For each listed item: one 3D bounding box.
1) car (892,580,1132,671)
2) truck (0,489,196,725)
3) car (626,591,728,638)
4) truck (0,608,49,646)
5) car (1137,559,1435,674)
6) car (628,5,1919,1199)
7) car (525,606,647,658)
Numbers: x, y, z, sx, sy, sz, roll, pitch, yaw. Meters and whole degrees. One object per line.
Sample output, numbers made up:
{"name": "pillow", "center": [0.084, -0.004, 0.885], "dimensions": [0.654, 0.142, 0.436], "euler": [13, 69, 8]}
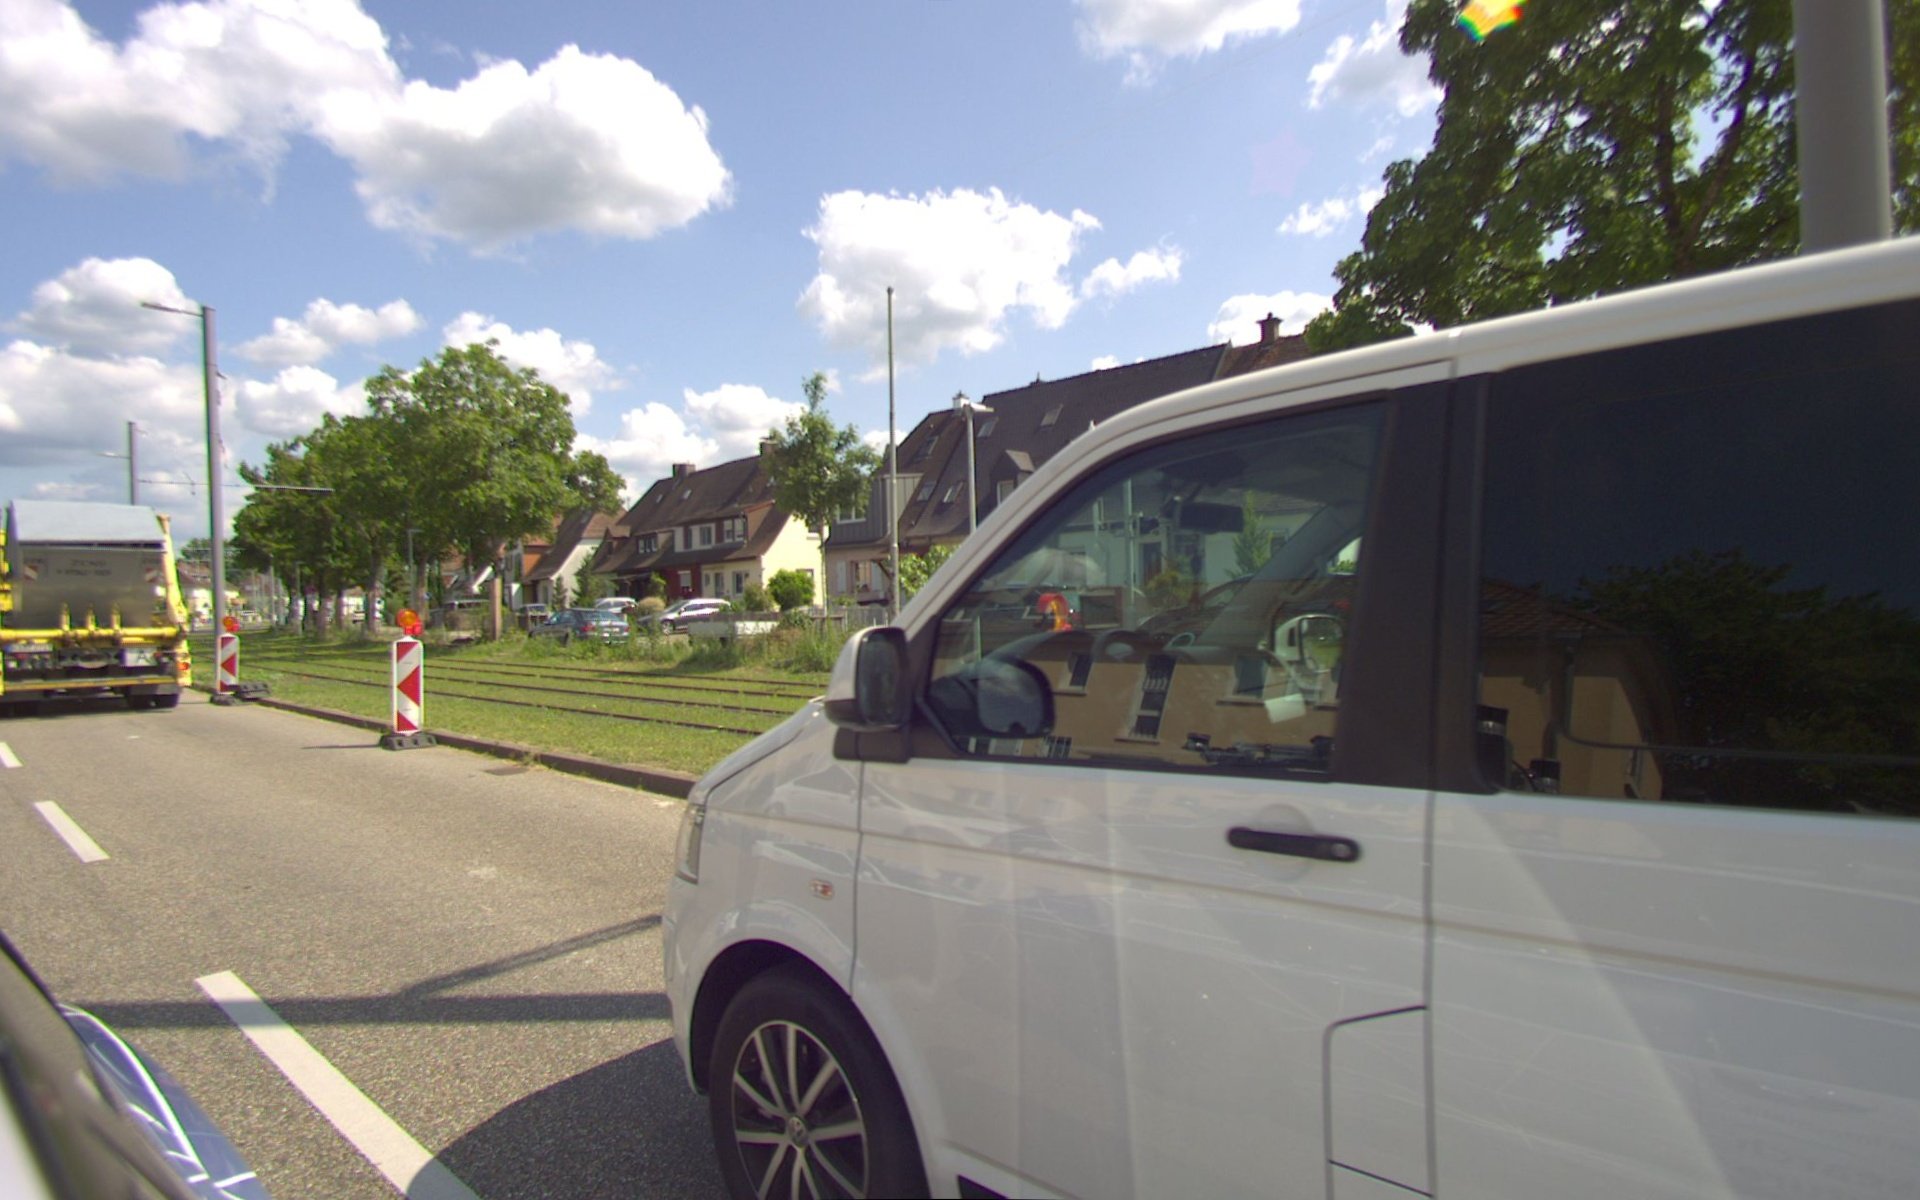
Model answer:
{"name": "car", "center": [0.919, 0.447, 19.448], "dimensions": [4.320, 1.551, 1.973], "euler": [-1, 0, 41]}
{"name": "truck", "center": [-15.982, 0.175, 18.091], "dimensions": [2.665, 3.391, 8.054], "euler": [0, -1, -45]}
{"name": "car", "center": [-12.778, 0.626, 45.802], "dimensions": [3.941, 2.029, 2.001], "euler": [-1, 0, -44]}
{"name": "truck", "center": [-72.079, 1.968, 76.970], "dimensions": [2.491, 2.753, 7.885], "euler": [-1, 0, -30]}
{"name": "car", "center": [5.086, 0.348, 16.100], "dimensions": [4.099, 1.590, 1.885], "euler": [-3, -4, 41]}
{"name": "car", "center": [1.508, 0.419, 1.709], "dimensions": [4.560, 1.957, 1.919], "euler": [-2, -2, 42]}
{"name": "car", "center": [-12.133, 0.980, 32.693], "dimensions": [4.323, 1.551, 1.972], "euler": [-1, 0, 43]}
